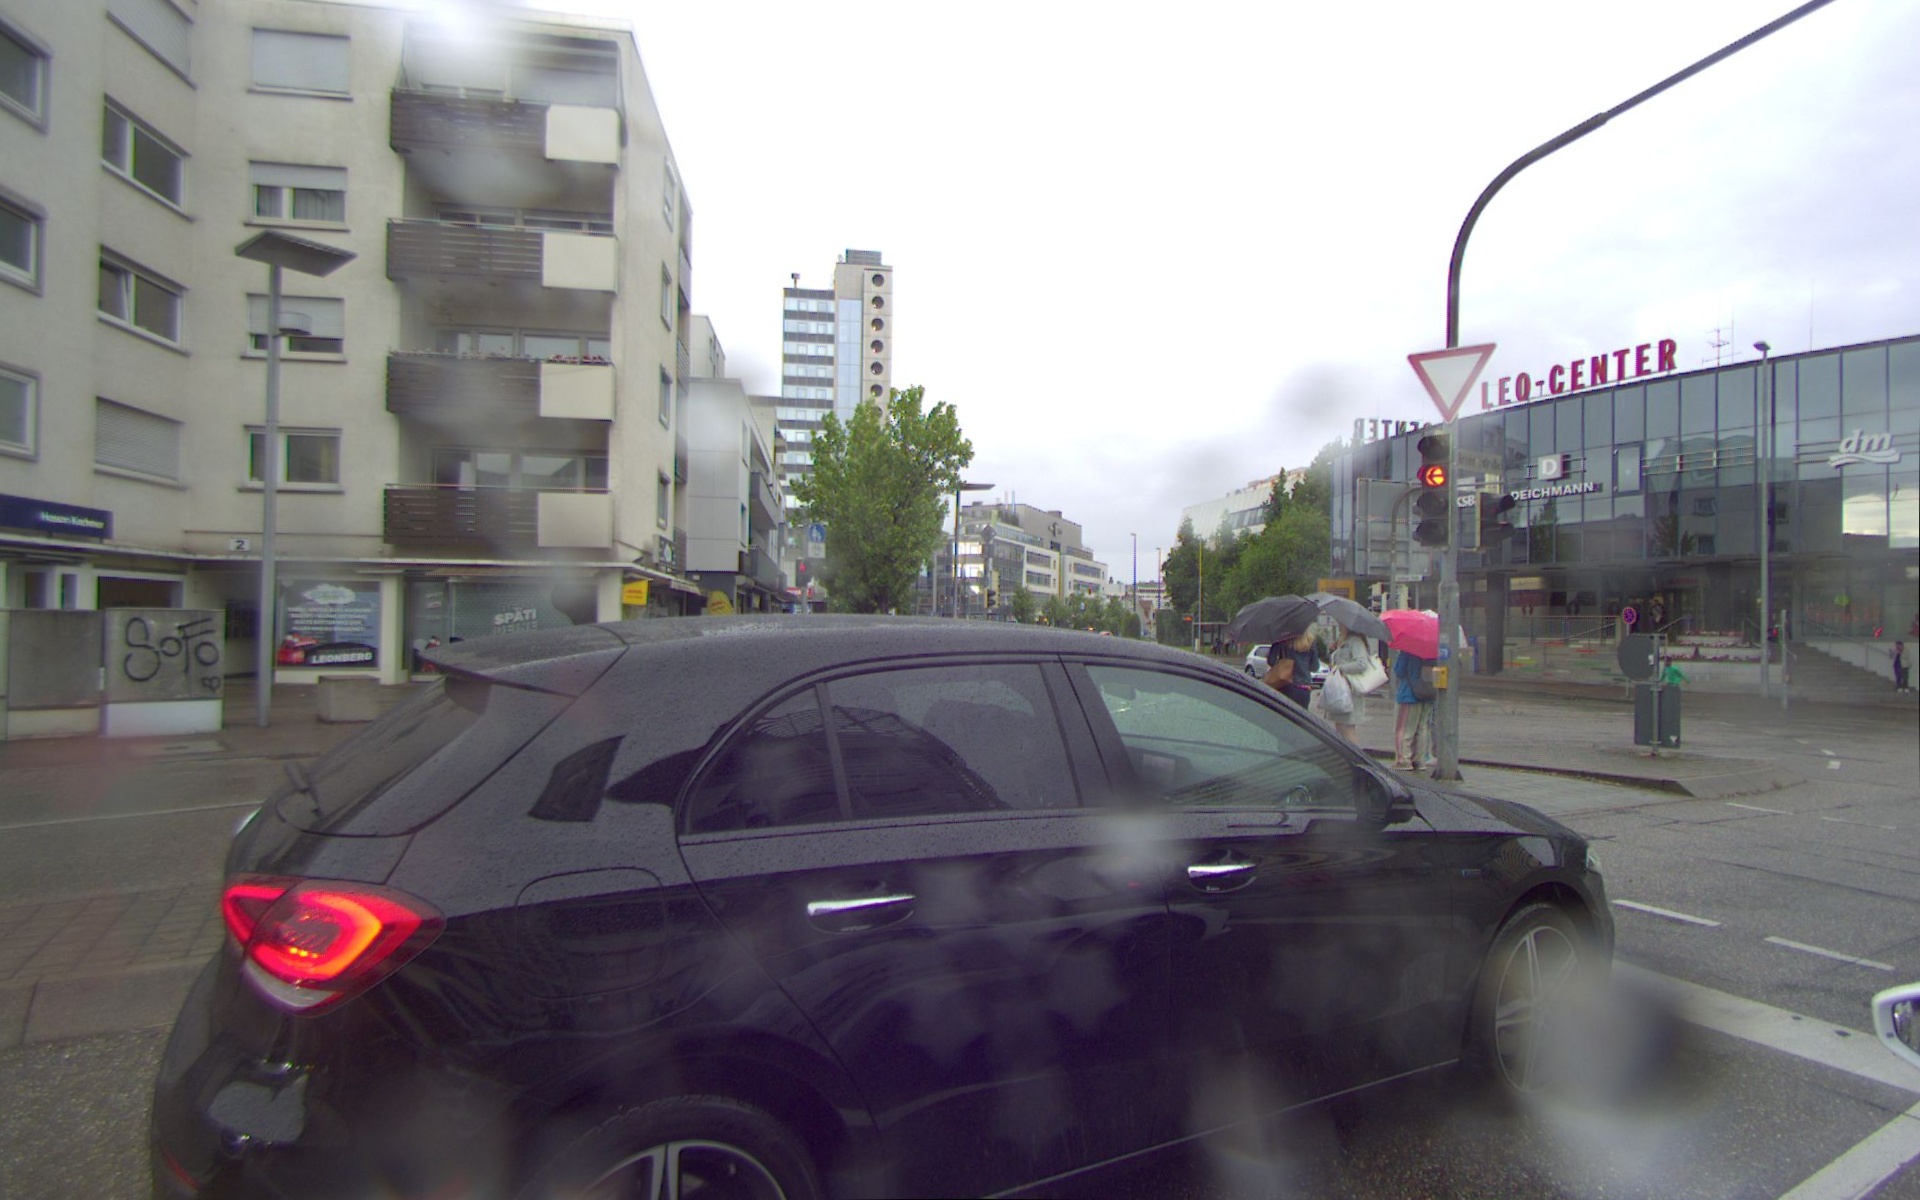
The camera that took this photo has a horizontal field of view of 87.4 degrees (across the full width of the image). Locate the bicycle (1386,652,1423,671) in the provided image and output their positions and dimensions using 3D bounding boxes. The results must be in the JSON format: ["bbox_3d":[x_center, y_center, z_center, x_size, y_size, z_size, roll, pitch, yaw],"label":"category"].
[{"bbox_3d":[23.700,3.267,53.542,1.821,0.964,0.535,-1,0,-8],"label":"bicycle"}]

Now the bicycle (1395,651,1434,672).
[{"bbox_3d":[23.930,3.238,52.877,1.822,1.047,0.628,-1,-2,-12],"label":"bicycle"}]

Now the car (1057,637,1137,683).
[{"bbox_3d":[4.780,2.077,35.769,2.082,1.432,5.147,2,-2,0],"label":"car"}]

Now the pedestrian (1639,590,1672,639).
[{"bbox_3d":[30.137,0.630,43.517,0.942,2.040,0.825,2,0,-34],"label":"pedestrian"}]

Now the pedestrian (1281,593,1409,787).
[{"bbox_3d":[3.726,0.842,9.822,0.843,1.767,1.139,1,-2,3],"label":"pedestrian"}]

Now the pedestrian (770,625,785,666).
[{"bbox_3d":[-8.189,2.043,45.105,0.557,1.817,0.491,1,-2,-4],"label":"pedestrian"}]

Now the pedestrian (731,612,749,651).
[{"bbox_3d":[-11.730,1.703,53.554,0.859,2.040,0.923,1,-1,-10],"label":"pedestrian"}]

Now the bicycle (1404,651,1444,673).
[{"bbox_3d":[24.082,3.233,52.134,1.822,1.056,0.646,-1,-2,-12],"label":"bicycle"}]

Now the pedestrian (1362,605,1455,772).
[{"bbox_3d":[4.809,0.930,10.807,0.790,1.707,0.674,1,-2,14],"label":"pedestrian"}]

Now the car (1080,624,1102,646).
[{"bbox_3d":[12.497,3.315,96.191,2.008,1.921,4.141,1,-1,6],"label":"car"}]

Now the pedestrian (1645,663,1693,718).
[{"bbox_3d":[21.942,2.791,31.111,0.794,1.644,0.951,1,-2,-7],"label":"pedestrian"}]

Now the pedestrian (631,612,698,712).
[{"bbox_3d":[-4.923,1.020,16.743,0.904,1.606,0.651,2,-2,-33],"label":"pedestrian"}]

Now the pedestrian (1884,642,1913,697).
[{"bbox_3d":[34.162,2.529,36.571,0.589,1.933,0.651,2,-1,-37],"label":"pedestrian"}]

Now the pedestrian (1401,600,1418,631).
[{"bbox_3d":[25.499,0.887,56.971,0.642,1.736,0.599,2,0,-6],"label":"pedestrian"}]

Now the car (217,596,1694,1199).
[{"bbox_3d":[0.346,0.779,3.062,4.048,1.501,1.654,1,1,-32],"label":"car"}]

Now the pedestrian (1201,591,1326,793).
[{"bbox_3d":[2.836,0.819,9.343,0.937,1.759,0.835,0,-2,30],"label":"pedestrian"}]

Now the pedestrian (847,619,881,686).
[{"bbox_3d":[-2.466,1.350,25.871,0.799,1.677,0.714,1,-2,-3],"label":"pedestrian"}]

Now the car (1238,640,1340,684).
[{"bbox_3d":[12.257,2.303,37.682,1.717,1.460,3.980,2,-1,-15],"label":"car"}]

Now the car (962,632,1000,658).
[{"bbox_3d":[1.195,2.564,57.865,1.414,1.314,3.770,2,-1,-11],"label":"car"}]

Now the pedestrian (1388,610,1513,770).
[{"bbox_3d":[5.537,0.981,11.357,0.906,1.699,0.931,2,-2,-30],"label":"pedestrian"}]

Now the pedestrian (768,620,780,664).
[{"bbox_3d":[-7.588,1.713,40.921,0.441,1.746,0.499,1,-2,-12],"label":"pedestrian"}]

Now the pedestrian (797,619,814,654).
[{"bbox_3d":[-8.380,1.982,54.412,0.859,1.835,0.923,1,-2,-10],"label":"pedestrian"}]

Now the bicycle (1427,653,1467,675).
[{"bbox_3d":[24.482,3.195,50.510,1.822,1.036,0.631,0,-2,-12],"label":"bicycle"}]
